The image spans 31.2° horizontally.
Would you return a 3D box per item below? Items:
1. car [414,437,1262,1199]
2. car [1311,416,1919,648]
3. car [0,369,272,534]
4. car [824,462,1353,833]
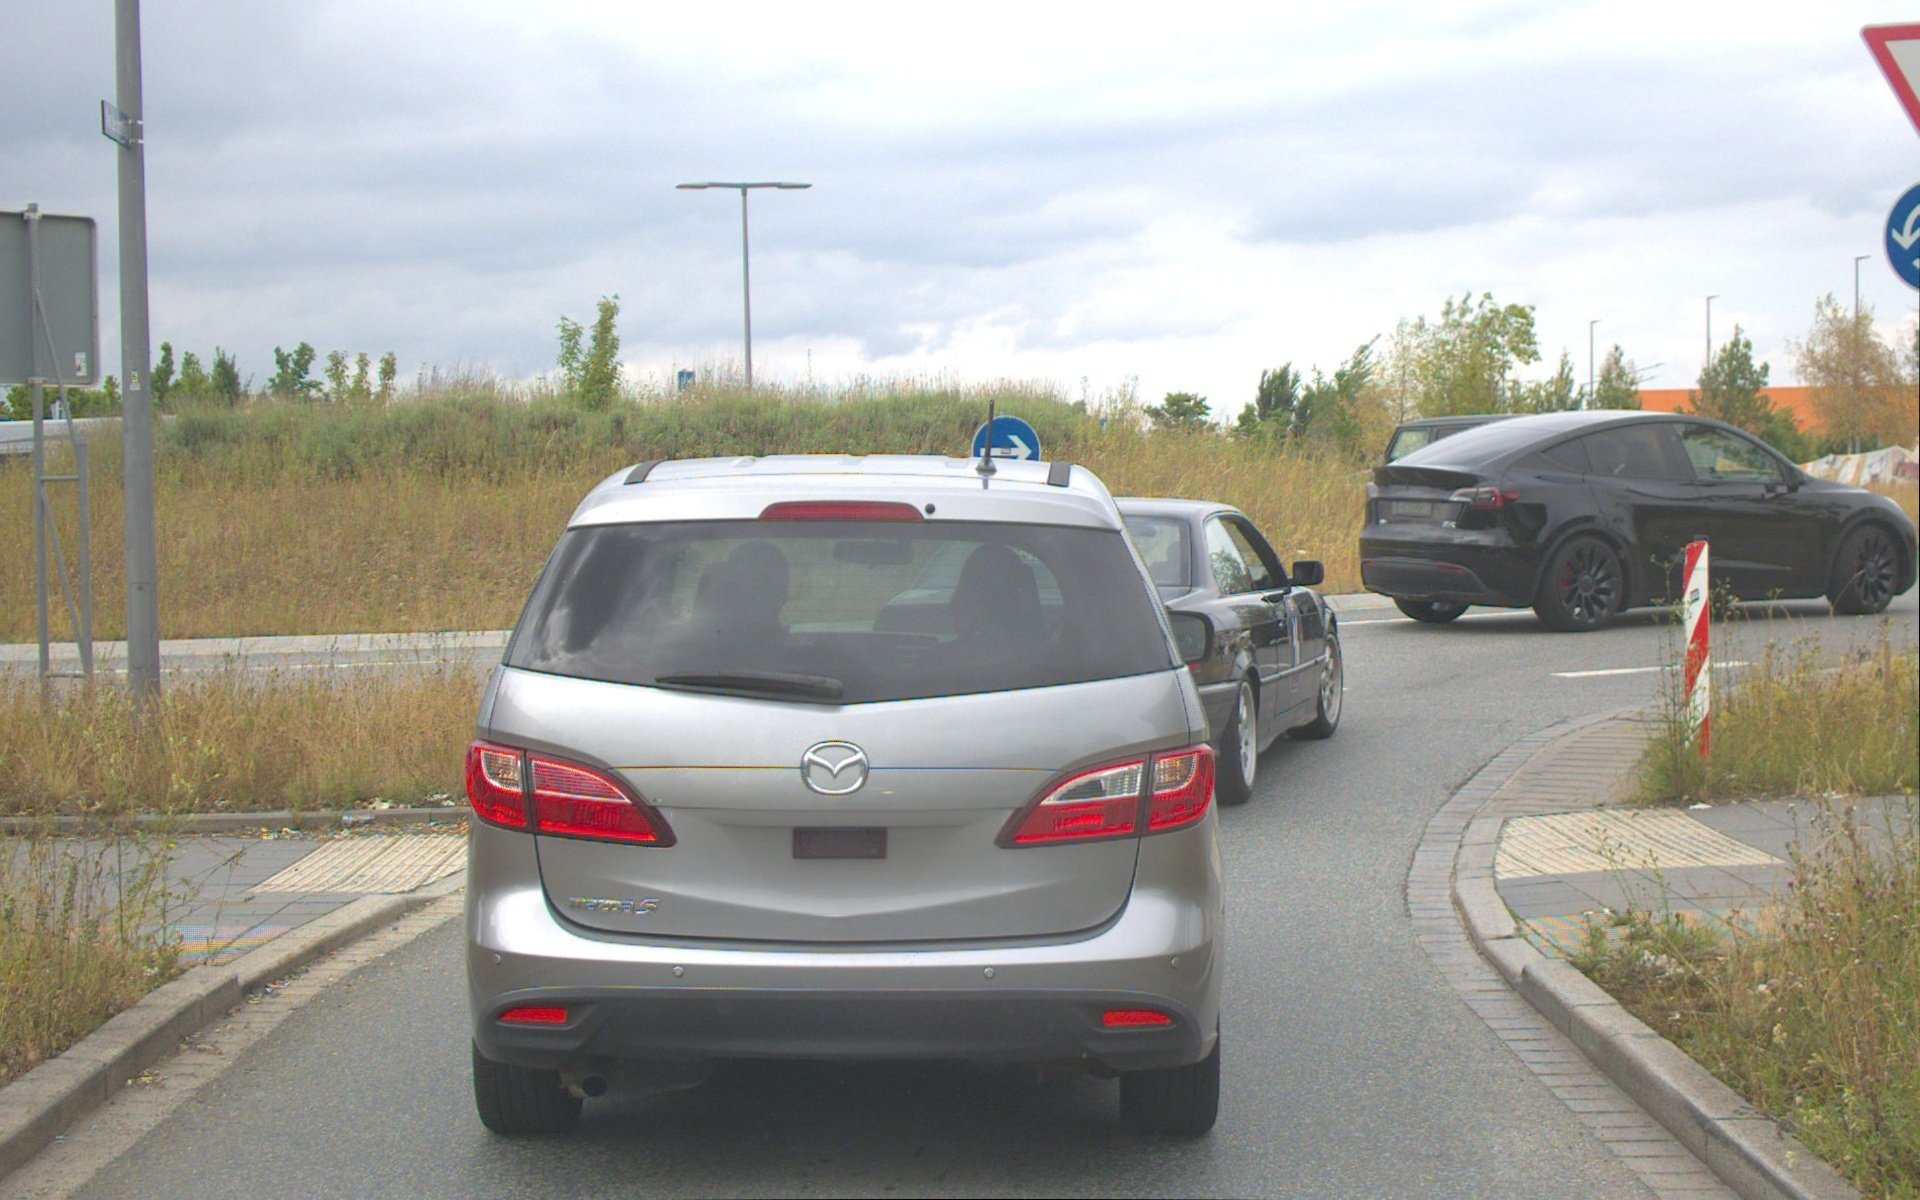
[{"bbox_3d":[-0.259,0.385,9.098,1.738,1.593,3.998,1,2,0],"label":"car"},{"bbox_3d":[5.237,-0.578,26.315,4.759,1.493,1.945,-4,4,-27],"label":"car"},{"bbox_3d":[-13.643,-2.250,52.595,5.692,2.379,2.281,0,0,-26],"label":"car"},{"bbox_3d":[0.745,0.114,16.492,1.739,1.398,3.996,1,4,14],"label":"car"}]
